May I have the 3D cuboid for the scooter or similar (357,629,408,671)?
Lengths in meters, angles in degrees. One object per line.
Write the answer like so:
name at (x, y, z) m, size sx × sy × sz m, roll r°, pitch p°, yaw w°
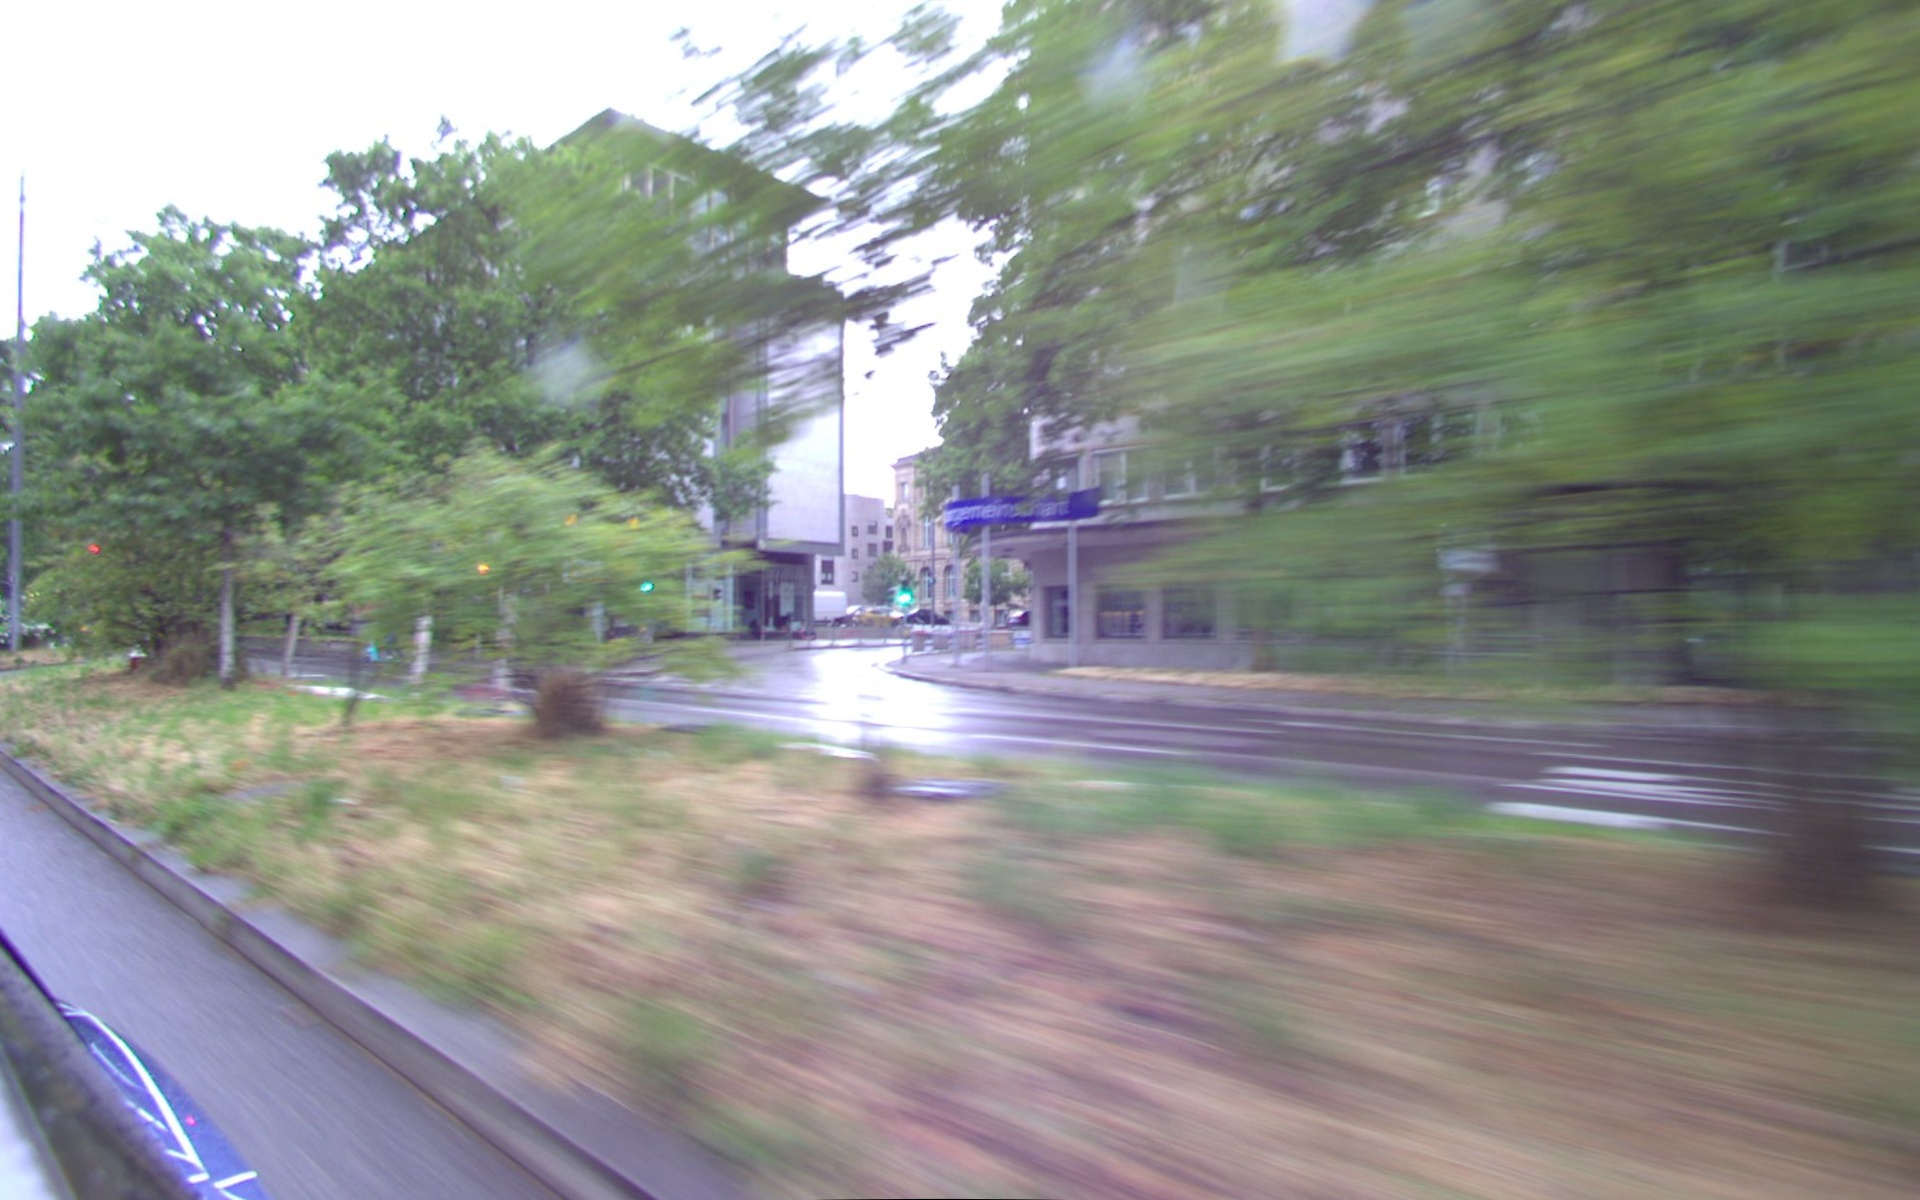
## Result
scooter or similar at (-16.255, 1.394, 28.512) m, size 0.434 × 1.122 × 1.170 m, roll -1°, pitch -1°, yaw 38°

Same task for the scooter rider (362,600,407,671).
scooter rider at (-16.240, 0.982, 28.555) m, size 0.756 × 1.955 × 0.891 m, roll -1°, pitch -1°, yaw 38°

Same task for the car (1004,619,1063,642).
car at (5.285, 2.153, 72.353) m, size 3.915 × 1.564 × 1.749 m, roll -1°, pitch -1°, yaw -32°

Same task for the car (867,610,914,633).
car at (-5.818, 1.814, 85.408) m, size 3.757 × 1.829 × 1.714 m, roll 0°, pitch -1°, yaw -44°

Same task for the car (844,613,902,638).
car at (-6.632, 1.912, 77.463) m, size 4.078 × 1.852 × 1.931 m, roll 0°, pitch -1°, yaw -41°
